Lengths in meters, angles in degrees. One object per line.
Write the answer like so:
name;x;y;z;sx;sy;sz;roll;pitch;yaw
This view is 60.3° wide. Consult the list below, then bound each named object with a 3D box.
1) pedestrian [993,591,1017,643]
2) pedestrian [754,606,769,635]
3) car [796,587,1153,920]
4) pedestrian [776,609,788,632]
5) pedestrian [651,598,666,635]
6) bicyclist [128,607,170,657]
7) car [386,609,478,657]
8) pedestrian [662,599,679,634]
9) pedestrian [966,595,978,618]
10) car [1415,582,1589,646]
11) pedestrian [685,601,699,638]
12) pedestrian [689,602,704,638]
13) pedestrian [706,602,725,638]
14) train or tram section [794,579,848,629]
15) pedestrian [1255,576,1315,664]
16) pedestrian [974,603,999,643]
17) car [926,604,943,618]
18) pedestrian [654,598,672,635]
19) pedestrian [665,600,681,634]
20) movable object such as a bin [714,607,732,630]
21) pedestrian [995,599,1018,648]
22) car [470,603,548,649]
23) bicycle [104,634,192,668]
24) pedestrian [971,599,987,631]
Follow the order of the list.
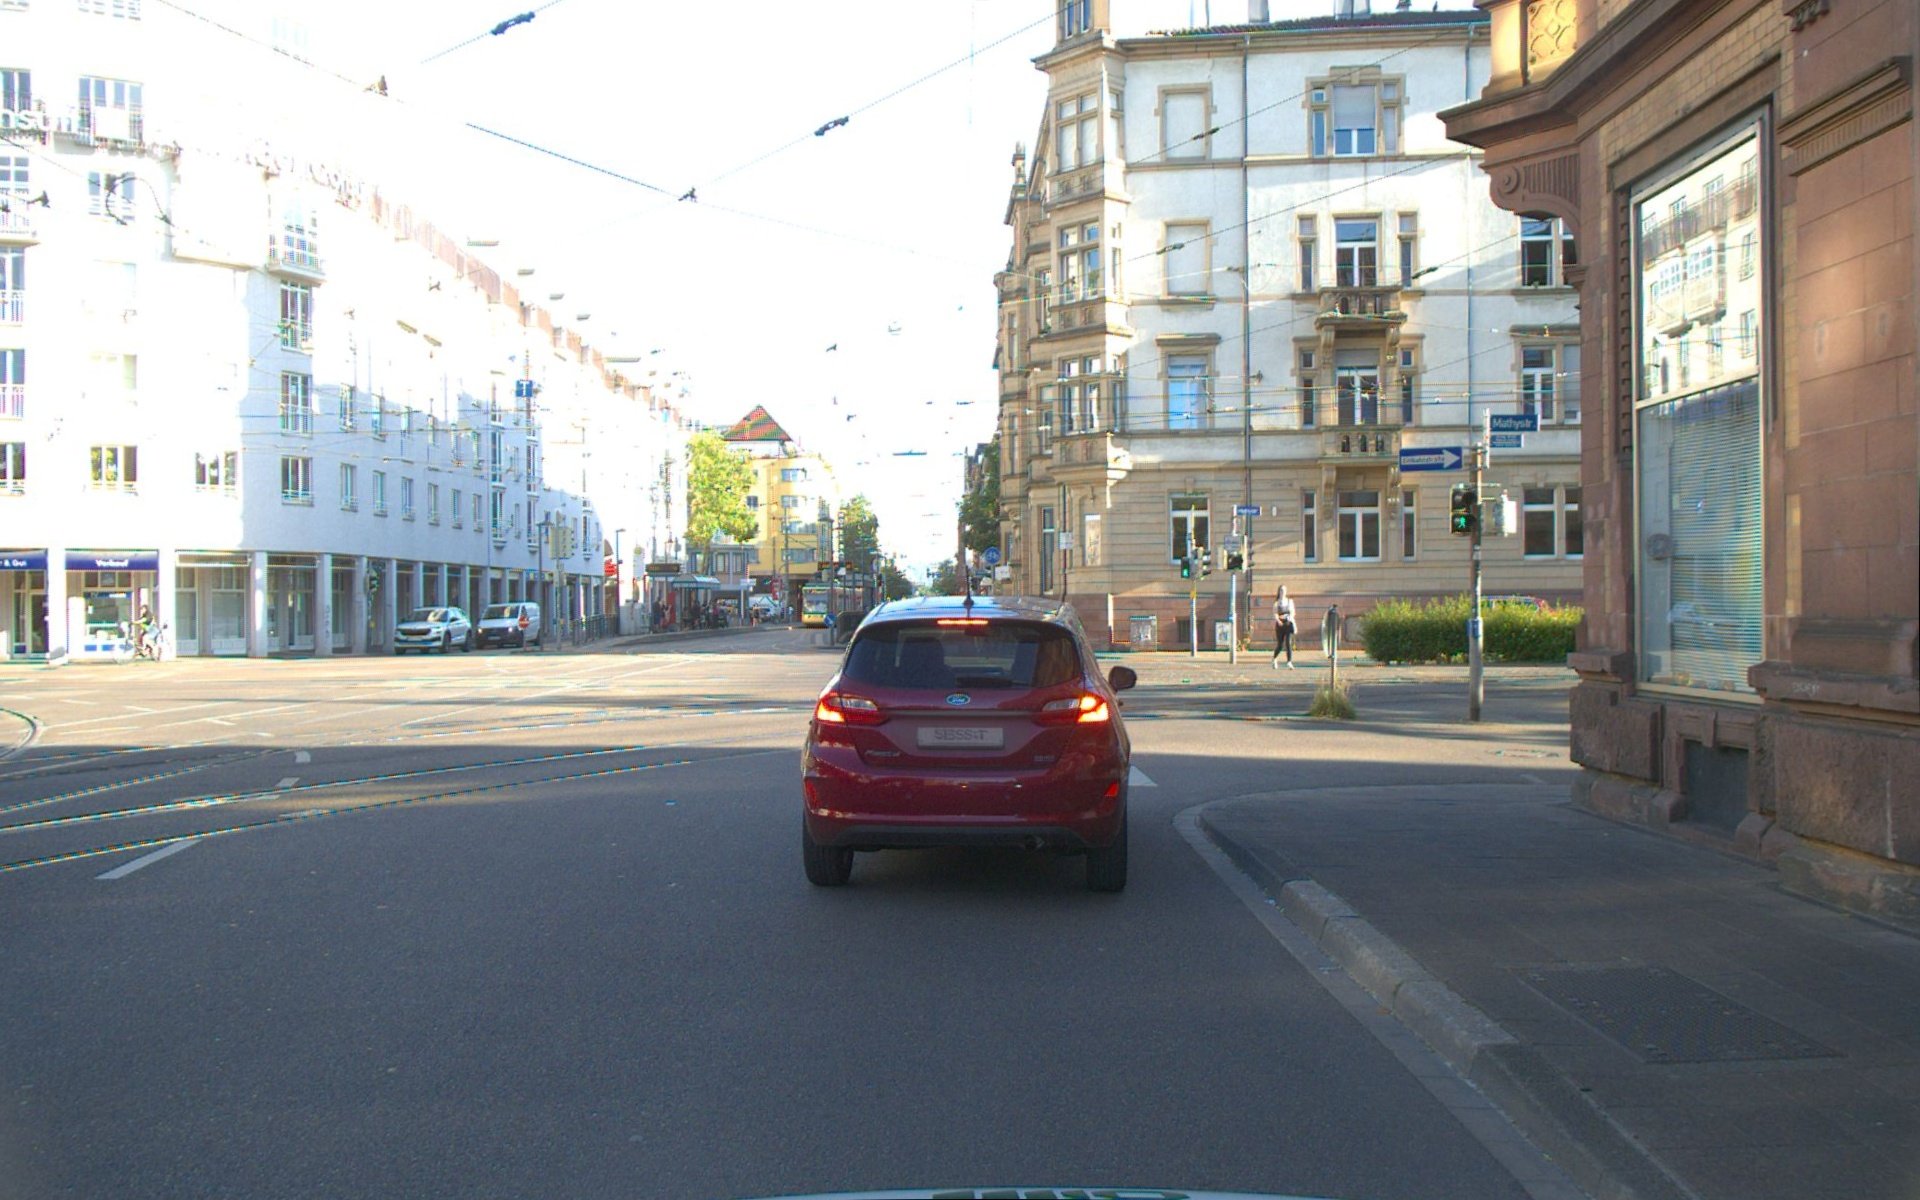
pedestrian;1.574;0.597;57.739;0.778;1.751;0.719;-2;-2;0
pedestrian;-13.414;1.375;111.566;0.864;1.938;0.930;0;-1;-17
car;0.223;0.727;9.585;1.656;1.522;3.582;1;0;5
pedestrian;-15.256;1.752;141.846;0.864;1.938;0.930;0;-1;-17
pedestrian;-14.272;0.776;78.239;0.586;1.721;0.613;-1;-1;-1
bicyclist;-24.705;0.967;50.378;0.828;1.493;0.891;-1;0;42
car;-19.118;1.165;60.070;1.953;1.648;4.509;-1;0;-1
pedestrian;-14.425;0.830;82.426;0.686;1.721;0.667;0;-1;-25
pedestrian;0.896;0.456;122.182;0.699;1.630;0.772;-3;1;-4
car;14.588;0.388;44.729;4.168;1.660;1.946;-1;0;7
pedestrian;-14.325;1.051;88.354;0.682;1.938;0.672;-1;-1;-3
pedestrian;-14.170;1.061;88.916;0.682;1.938;0.672;-1;-1;-3
pedestrian;-13.347;1.094;90.410;0.913;1.938;0.880;-1;-1;-4
train or tram section;-10.521;0.318;126.550;2.826;3.551;14.166;-2;0;0
pedestrian;6.932;0.414;35.333;1.003;1.838;1.082;-1;0;-4
pedestrian;0.907;0.812;57.404;0.778;1.355;0.719;-2;-2;-3
car;-2.842;1.238;185.211;1.953;1.475;3.999;0;0;-1
pedestrian;-14.425;0.801;80.254;0.752;1.763;0.517;-1;-1;41
pedestrian;-14.611;0.879;84.184;0.686;1.721;0.667;0;-1;-25
movable object such as a bin;-13.871;1.085;96.785;0.918;1.309;0.934;-1;-1;-3
pedestrian;1.799;0.896;64.256;0.784;1.855;0.797;-2;0;-1
car;-19.379;1.072;71.295;1.953;1.870;5.345;-1;0;-1
bicycle;-24.710;1.536;50.362;0.828;0.943;2.252;-1;0;41
pedestrian;0.994;0.793;88.133;0.747;1.674;0.832;-2;0;-1
